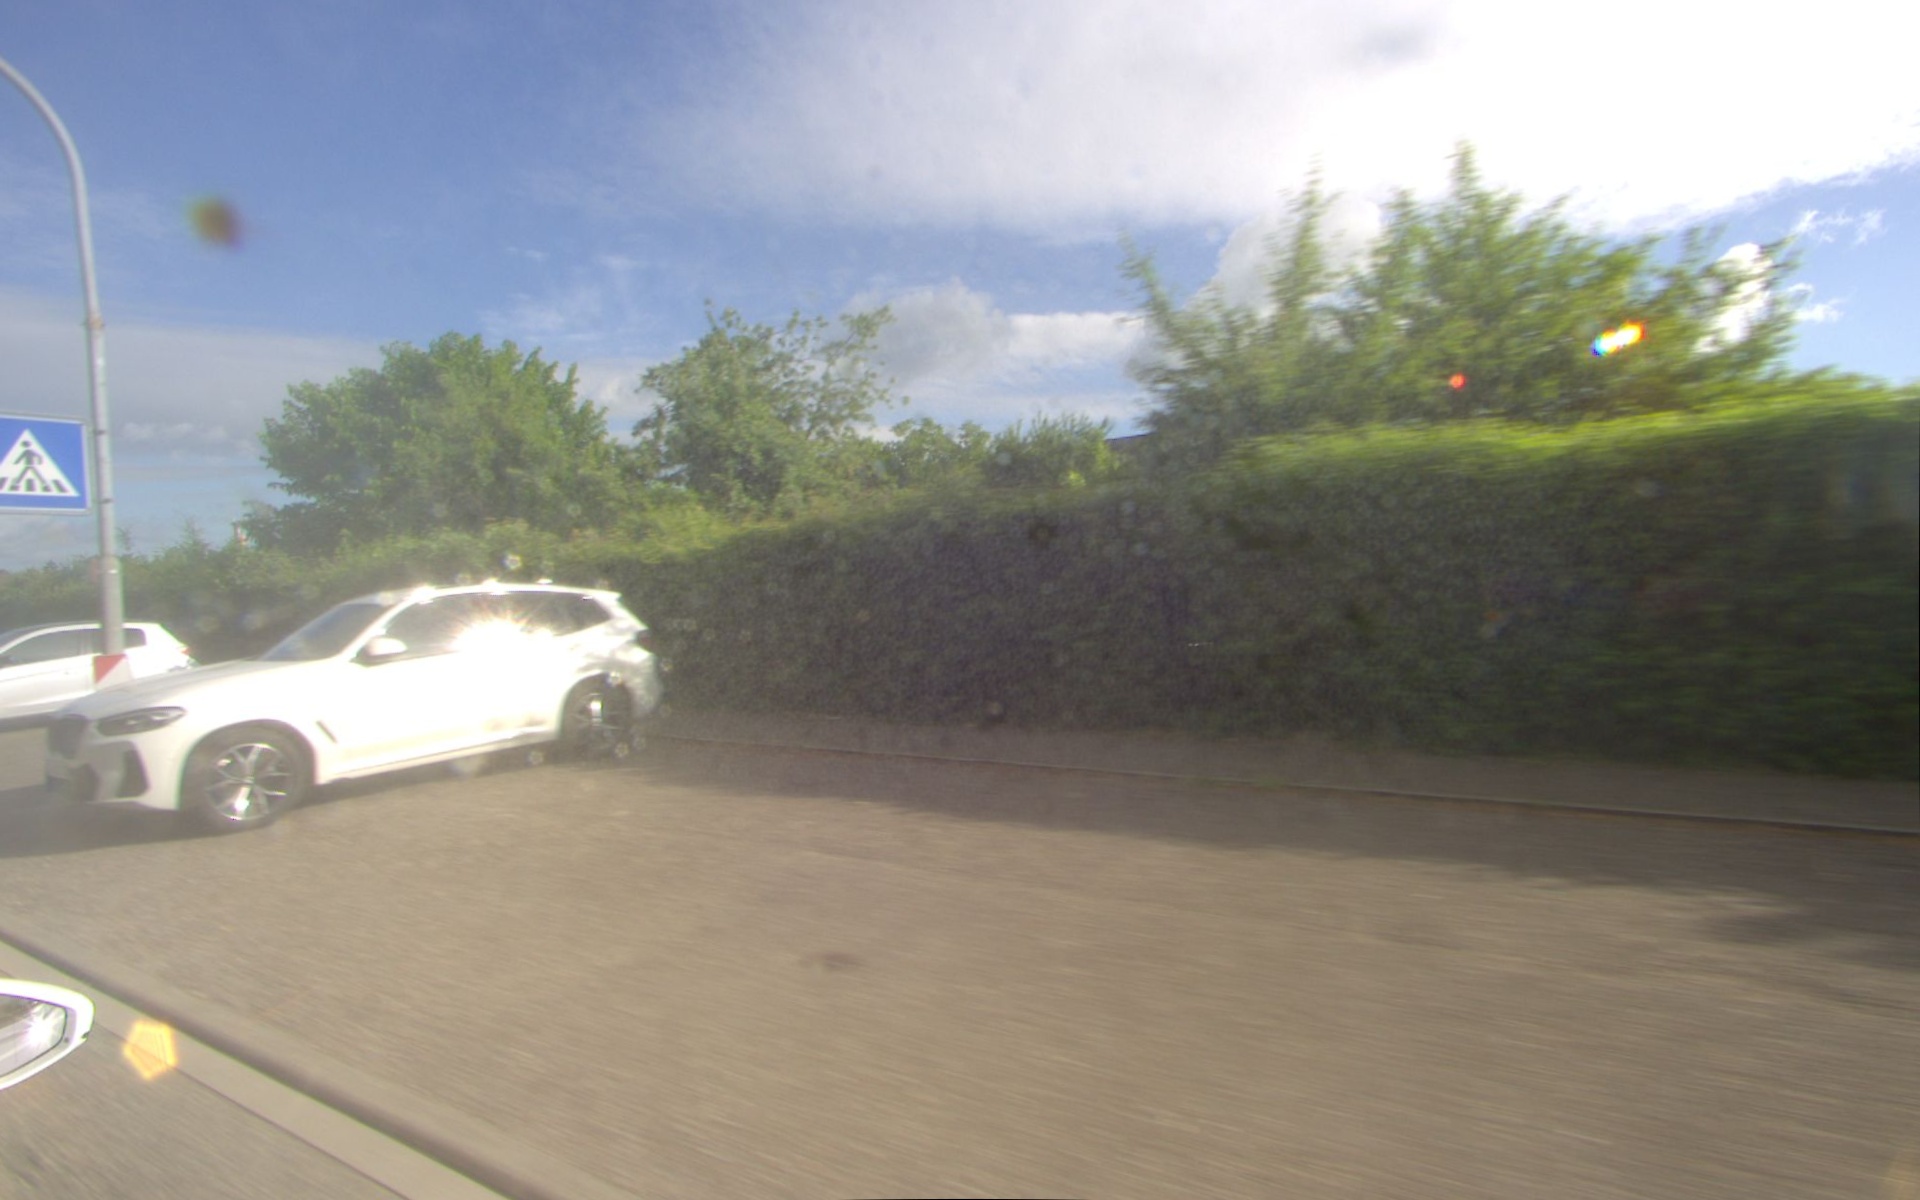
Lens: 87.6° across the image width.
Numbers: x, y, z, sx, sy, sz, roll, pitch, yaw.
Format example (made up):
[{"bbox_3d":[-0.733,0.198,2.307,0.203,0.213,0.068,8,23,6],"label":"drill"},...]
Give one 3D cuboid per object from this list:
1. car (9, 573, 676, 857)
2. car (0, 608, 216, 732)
[{"bbox_3d":[-4.903,0.699,8.706,1.740,1.722,4.572,-1,2,35],"label":"car"},{"bbox_3d":[-13.749,1.036,14.943,1.668,1.511,3.844,1,5,33],"label":"car"}]
